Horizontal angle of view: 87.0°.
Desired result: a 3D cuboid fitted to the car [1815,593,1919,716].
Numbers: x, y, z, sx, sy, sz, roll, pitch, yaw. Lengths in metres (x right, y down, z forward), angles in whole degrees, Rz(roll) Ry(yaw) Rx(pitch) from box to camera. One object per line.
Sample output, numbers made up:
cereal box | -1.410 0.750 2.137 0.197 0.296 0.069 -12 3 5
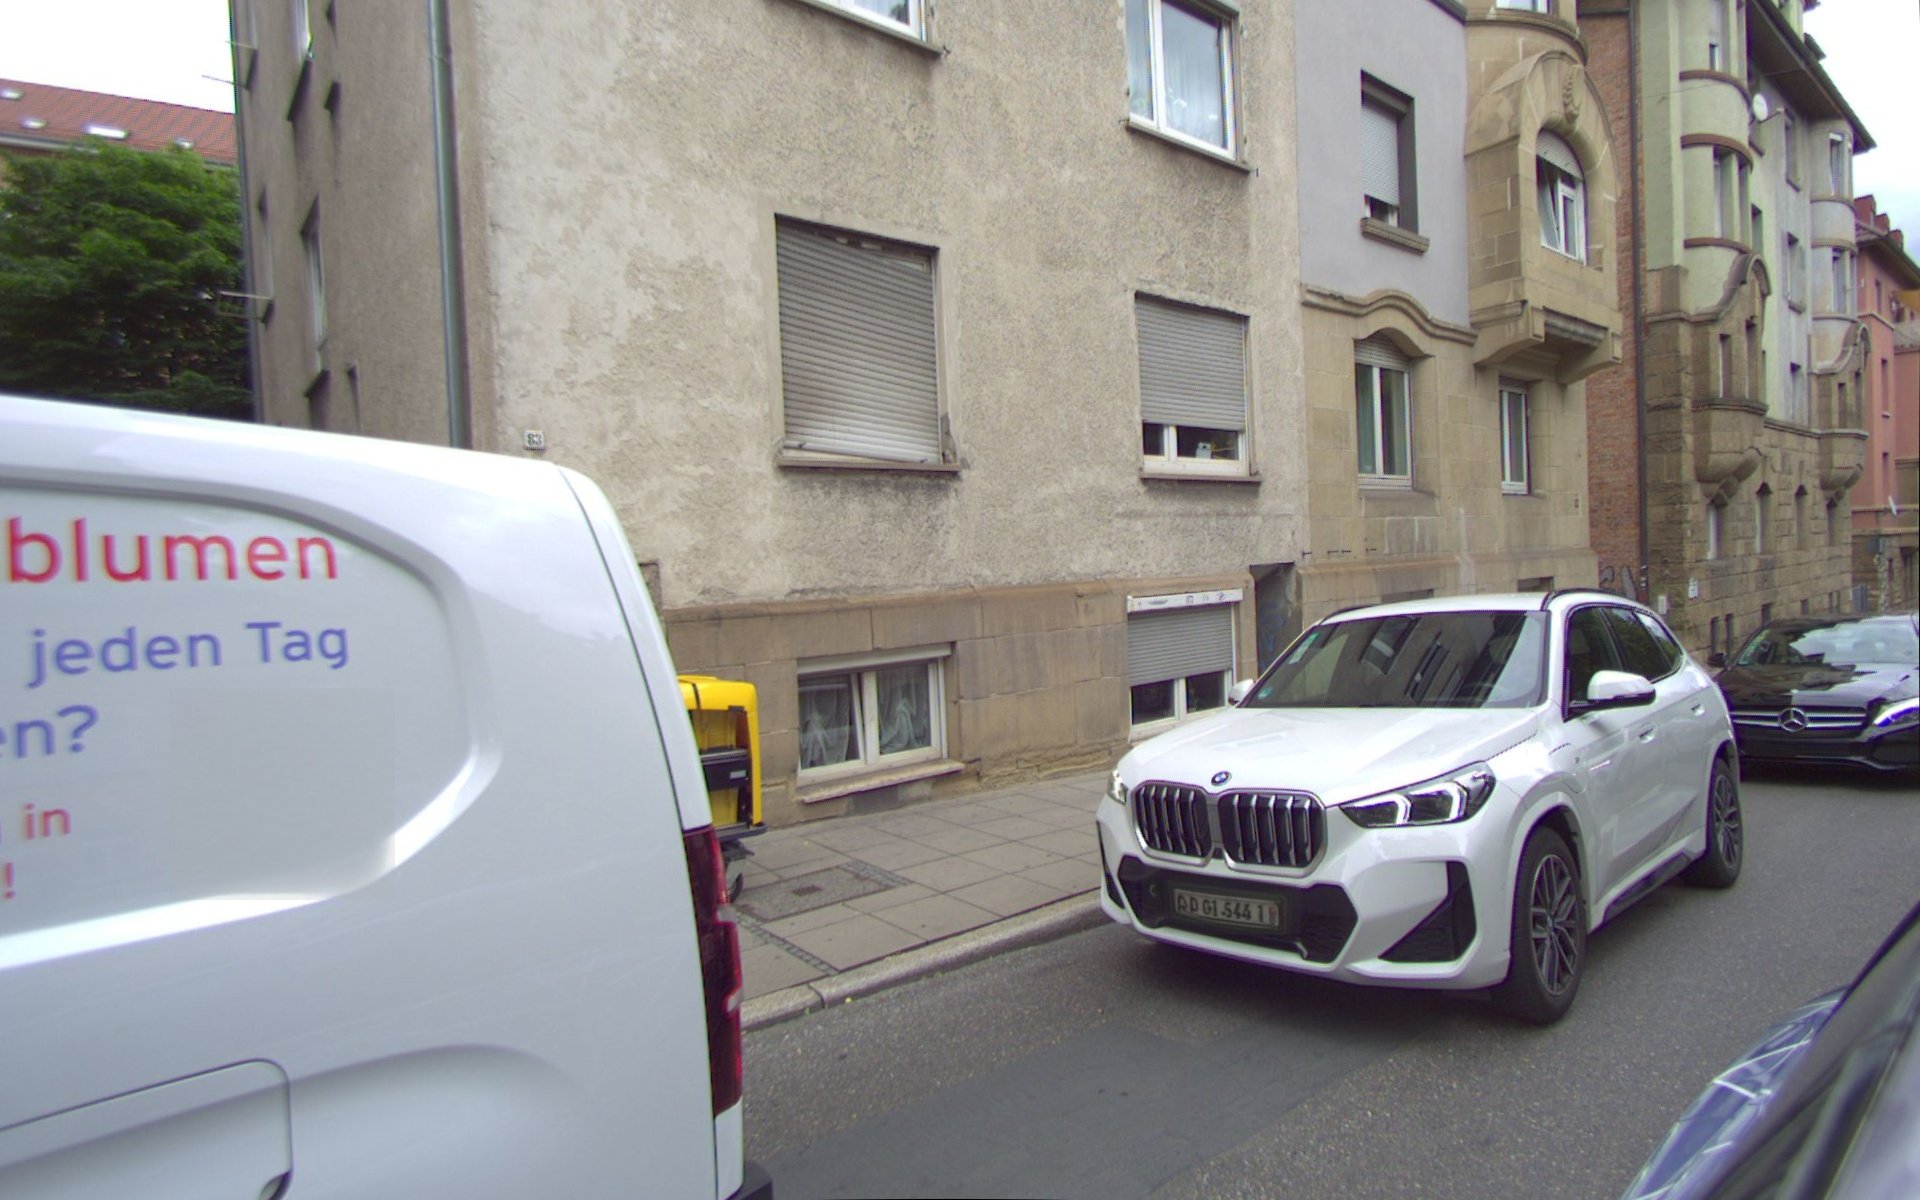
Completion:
car | 13.587 0.652 13.959 4.226 1.534 1.935 -1 -3 -40

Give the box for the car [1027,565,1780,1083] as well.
car | 2.542 0.720 5.227 4.276 1.576 1.857 -1 -4 -42

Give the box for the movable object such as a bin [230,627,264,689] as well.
movable object such as a bin | -10.980 0.885 15.590 0.405 0.923 0.340 0 0 -40

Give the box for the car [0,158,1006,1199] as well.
car | -2.293 0.550 0.926 4.597 1.798 1.977 -1 -3 -42

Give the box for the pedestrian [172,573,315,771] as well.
pedestrian | -6.605 0.621 9.333 0.807 1.666 0.773 0 5 41

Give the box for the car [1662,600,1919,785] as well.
car | 8.468 0.741 9.642 4.133 1.395 1.882 -1 -3 -41

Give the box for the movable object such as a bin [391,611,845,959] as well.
movable object such as a bin | -1.775 0.792 5.393 1.979 1.391 1.223 -1 2 -43
